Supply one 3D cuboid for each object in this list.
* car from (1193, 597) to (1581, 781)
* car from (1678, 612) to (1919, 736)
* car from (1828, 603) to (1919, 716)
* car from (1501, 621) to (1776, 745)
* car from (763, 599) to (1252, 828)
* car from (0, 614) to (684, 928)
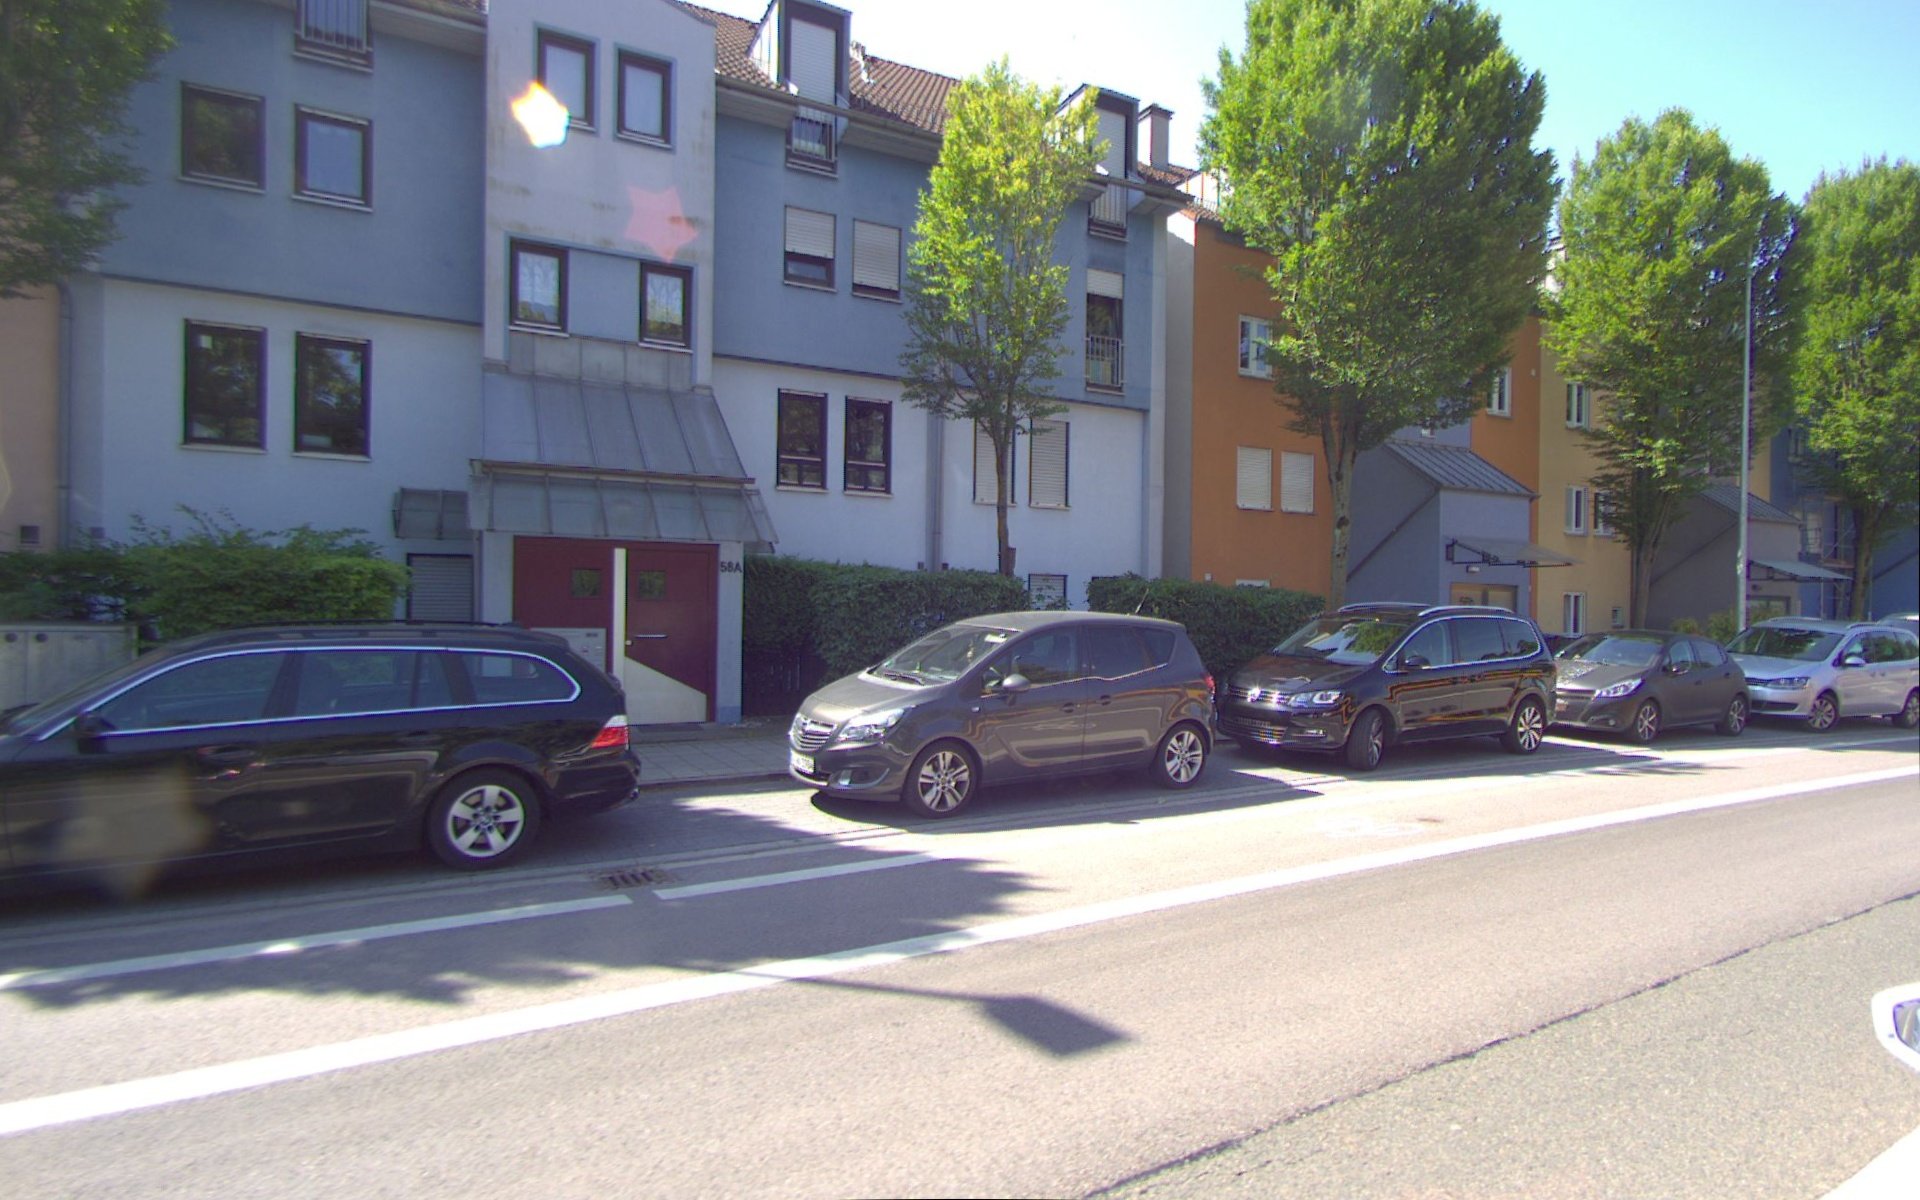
[{"bbox_3d":[5.141,0.903,11.857,4.816,1.746,1.759,1,2,-32],"label":"car"},{"bbox_3d":[14.444,1.157,16.840,4.845,1.748,1.794,1,2,-27],"label":"car"},{"bbox_3d":[19.505,1.140,19.674,5.286,1.974,1.912,1,2,-28],"label":"car"},{"bbox_3d":[9.916,1.119,14.638,4.000,1.494,1.682,1,2,-30],"label":"car"},{"bbox_3d":[0.524,0.867,9.230,4.263,1.647,1.708,1,1,-31],"label":"car"},{"bbox_3d":[-4.311,0.883,6.321,4.664,1.494,1.713,1,1,-33],"label":"car"}]
